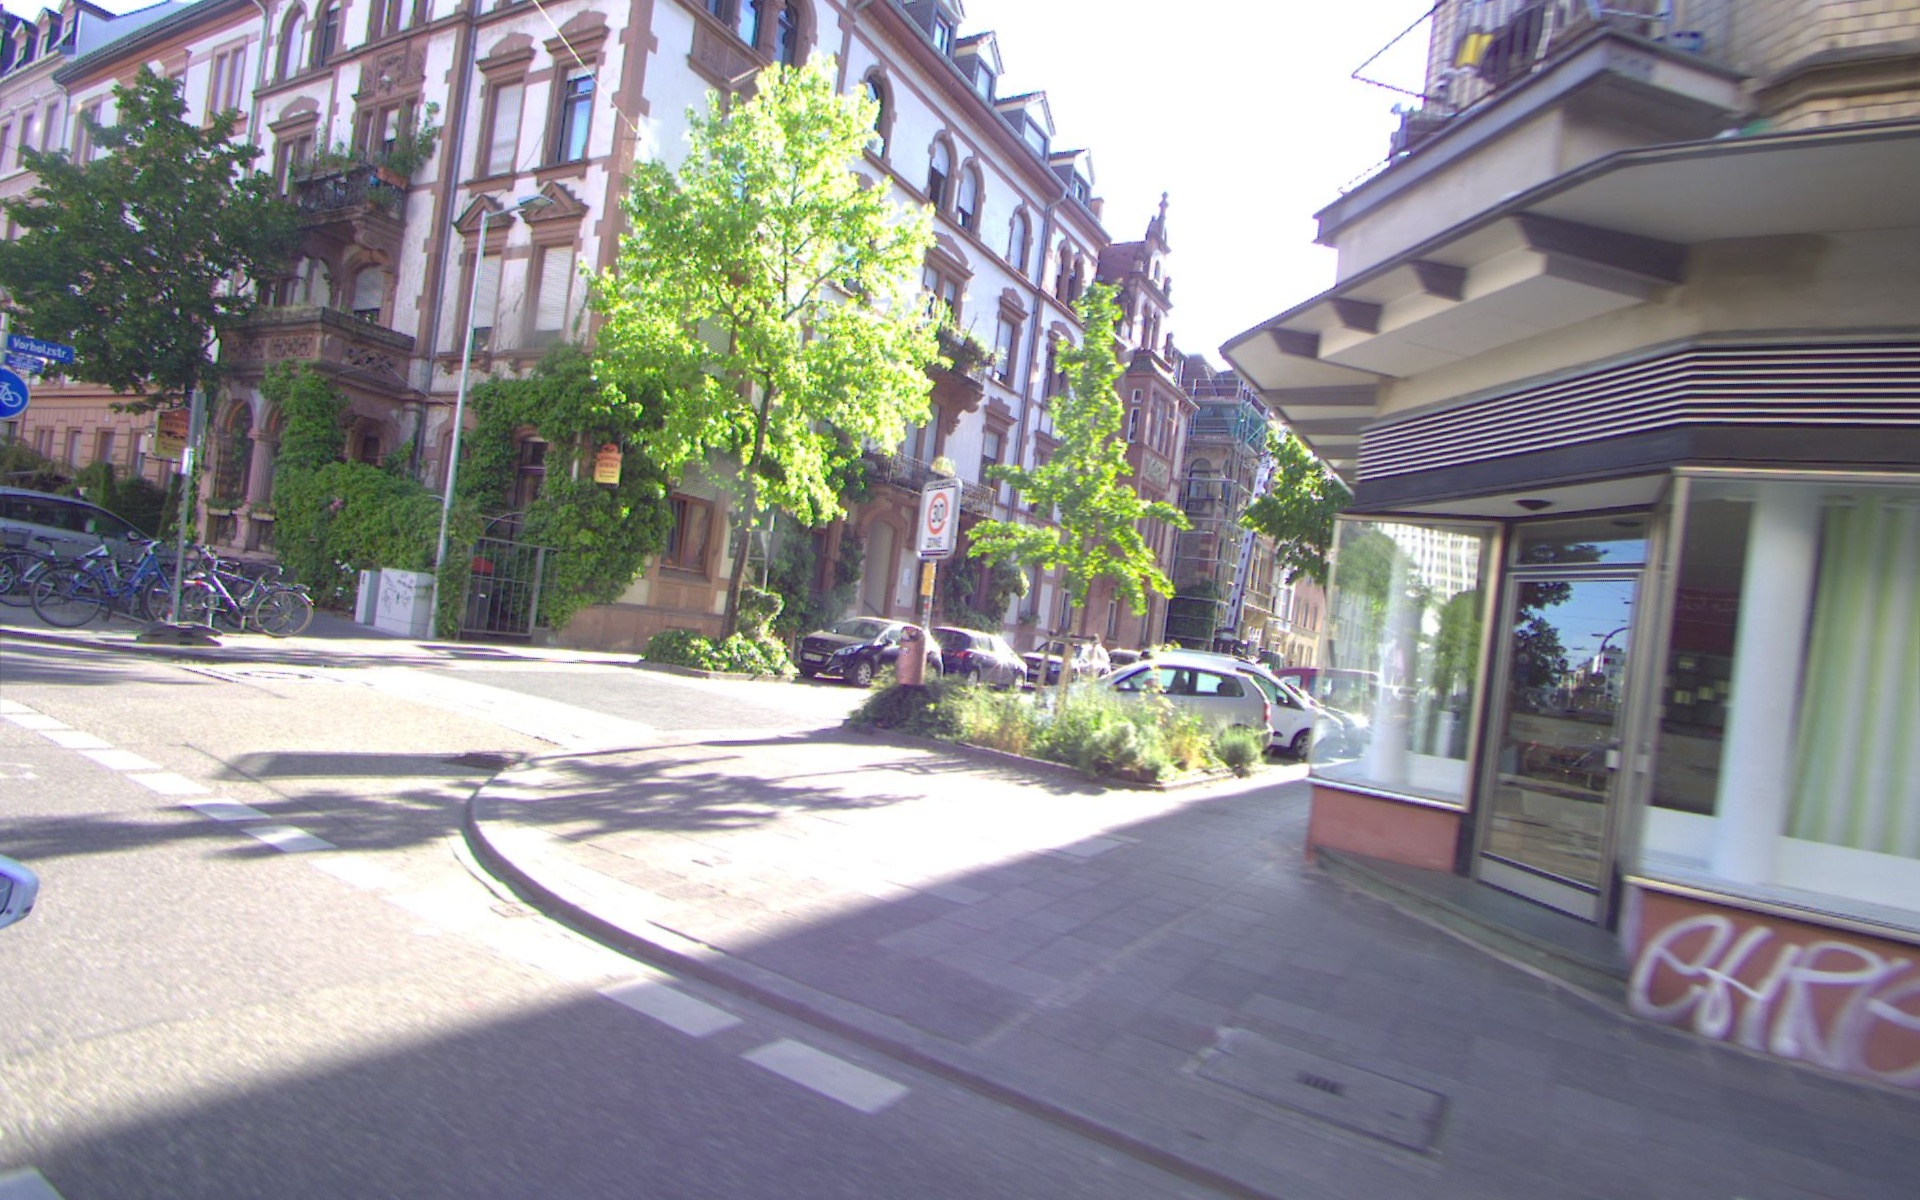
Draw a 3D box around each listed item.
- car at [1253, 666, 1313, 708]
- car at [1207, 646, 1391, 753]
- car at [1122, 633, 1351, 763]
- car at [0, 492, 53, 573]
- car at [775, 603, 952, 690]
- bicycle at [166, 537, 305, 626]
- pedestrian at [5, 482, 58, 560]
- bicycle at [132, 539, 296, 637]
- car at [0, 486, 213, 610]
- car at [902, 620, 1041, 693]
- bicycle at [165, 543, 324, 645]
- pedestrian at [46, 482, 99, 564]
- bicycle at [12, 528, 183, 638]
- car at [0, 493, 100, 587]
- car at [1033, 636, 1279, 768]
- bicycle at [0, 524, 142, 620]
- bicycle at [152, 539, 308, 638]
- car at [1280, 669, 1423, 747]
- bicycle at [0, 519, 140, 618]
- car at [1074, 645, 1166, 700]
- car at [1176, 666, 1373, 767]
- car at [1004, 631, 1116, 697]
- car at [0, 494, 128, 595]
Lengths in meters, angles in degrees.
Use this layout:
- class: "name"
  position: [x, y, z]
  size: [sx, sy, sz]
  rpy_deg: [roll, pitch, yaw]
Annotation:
- class: "car"
  position: [16.326, 4.410, 50.696]
  size: [1.685, 1.771, 3.992]
  rpy_deg: [7, -2, 34]
- class: "car"
  position: [8.124, 2.361, 24.264]
  size: [3.883, 1.917, 1.774]
  rpy_deg: [7, -2, 20]
- class: "car"
  position: [5.136, 1.806, 19.061]
  size: [3.670, 1.851, 1.774]
  rpy_deg: [8, -2, 1]
- class: "car"
  position: [-21.486, -1.669, 20.304]
  size: [2.006, 1.614, 4.338]
  rpy_deg: [7, -2, 7]
- class: "car"
  position: [-2.031, 1.091, 22.318]
  size: [1.684, 1.469, 3.995]
  rpy_deg: [6, -3, 32]
- class: "bicycle"
  position: [-11.177, -0.273, 15.561]
  size: [0.543, 1.140, 1.557]
  rpy_deg: [6, -2, 38]
- class: "pedestrian"
  position: [-21.109, -1.796, 22.872]
  size: [0.849, 1.667, 0.519]
  rpy_deg: [7, -1, 32]
- class: "bicycle"
  position: [-10.523, -0.146, 14.239]
  size: [0.543, 1.140, 1.675]
  rpy_deg: [6, -2, 38]
- class: "car"
  position: [-14.674, -0.875, 15.993]
  size: [1.818, 1.614, 4.372]
  rpy_deg: [7, -2, 7]
- class: "car"
  position: [0.382, 1.515, 26.364]
  size: [1.684, 1.469, 3.995]
  rpy_deg: [6, -3, 32]
- class: "bicycle"
  position: [-9.607, -0.059, 13.559]
  size: [0.543, 1.140, 1.557]
  rpy_deg: [6, -2, 38]
- class: "pedestrian"
  position: [-20.651, -1.790, 23.410]
  size: [0.849, 1.798, 0.519]
  rpy_deg: [7, -1, 32]
- class: "bicycle"
  position: [-10.576, -0.184, 12.380]
  size: [0.542, 1.140, 1.400]
  rpy_deg: [7, -2, 31]
- class: "car"
  position: [-18.909, -1.340, 18.421]
  size: [2.049, 1.614, 4.455]
  rpy_deg: [7, -2, 7]
- class: "car"
  position: [3.048, 1.591, 16.178]
  size: [3.466, 1.549, 1.774]
  rpy_deg: [8, -2, 1]
- class: "bicycle"
  position: [-12.029, -0.363, 13.464]
  size: [0.303, 1.091, 1.557]
  rpy_deg: [6, -2, 37]
- class: "bicycle"
  position: [-10.053, -0.140, 13.909]
  size: [0.520, 1.140, 1.557]
  rpy_deg: [6, -2, 38]
- class: "car"
  position: [12.156, 3.337, 31.444]
  size: [3.883, 1.815, 1.774]
  rpy_deg: [7, -2, 20]
- class: "bicycle"
  position: [-12.267, -0.420, 13.704]
  size: [0.290, 1.140, 1.561]
  rpy_deg: [6, -2, 37]
- class: "car"
  position: [5.700, 2.589, 35.585]
  size: [1.685, 1.589, 3.995]
  rpy_deg: [4, -4, 32]
- class: "car"
  position: [6.590, 2.432, 21.362]
  size: [3.466, 1.549, 1.774]
  rpy_deg: [8, -2, 1]
- class: "car"
  position: [3.133, 2.008, 30.756]
  size: [1.684, 1.590, 3.995]
  rpy_deg: [6, -3, 32]
- class: "car"
  position: [-16.991, -1.102, 17.143]
  size: [1.882, 1.554, 4.006]
  rpy_deg: [7, -2, 7]
